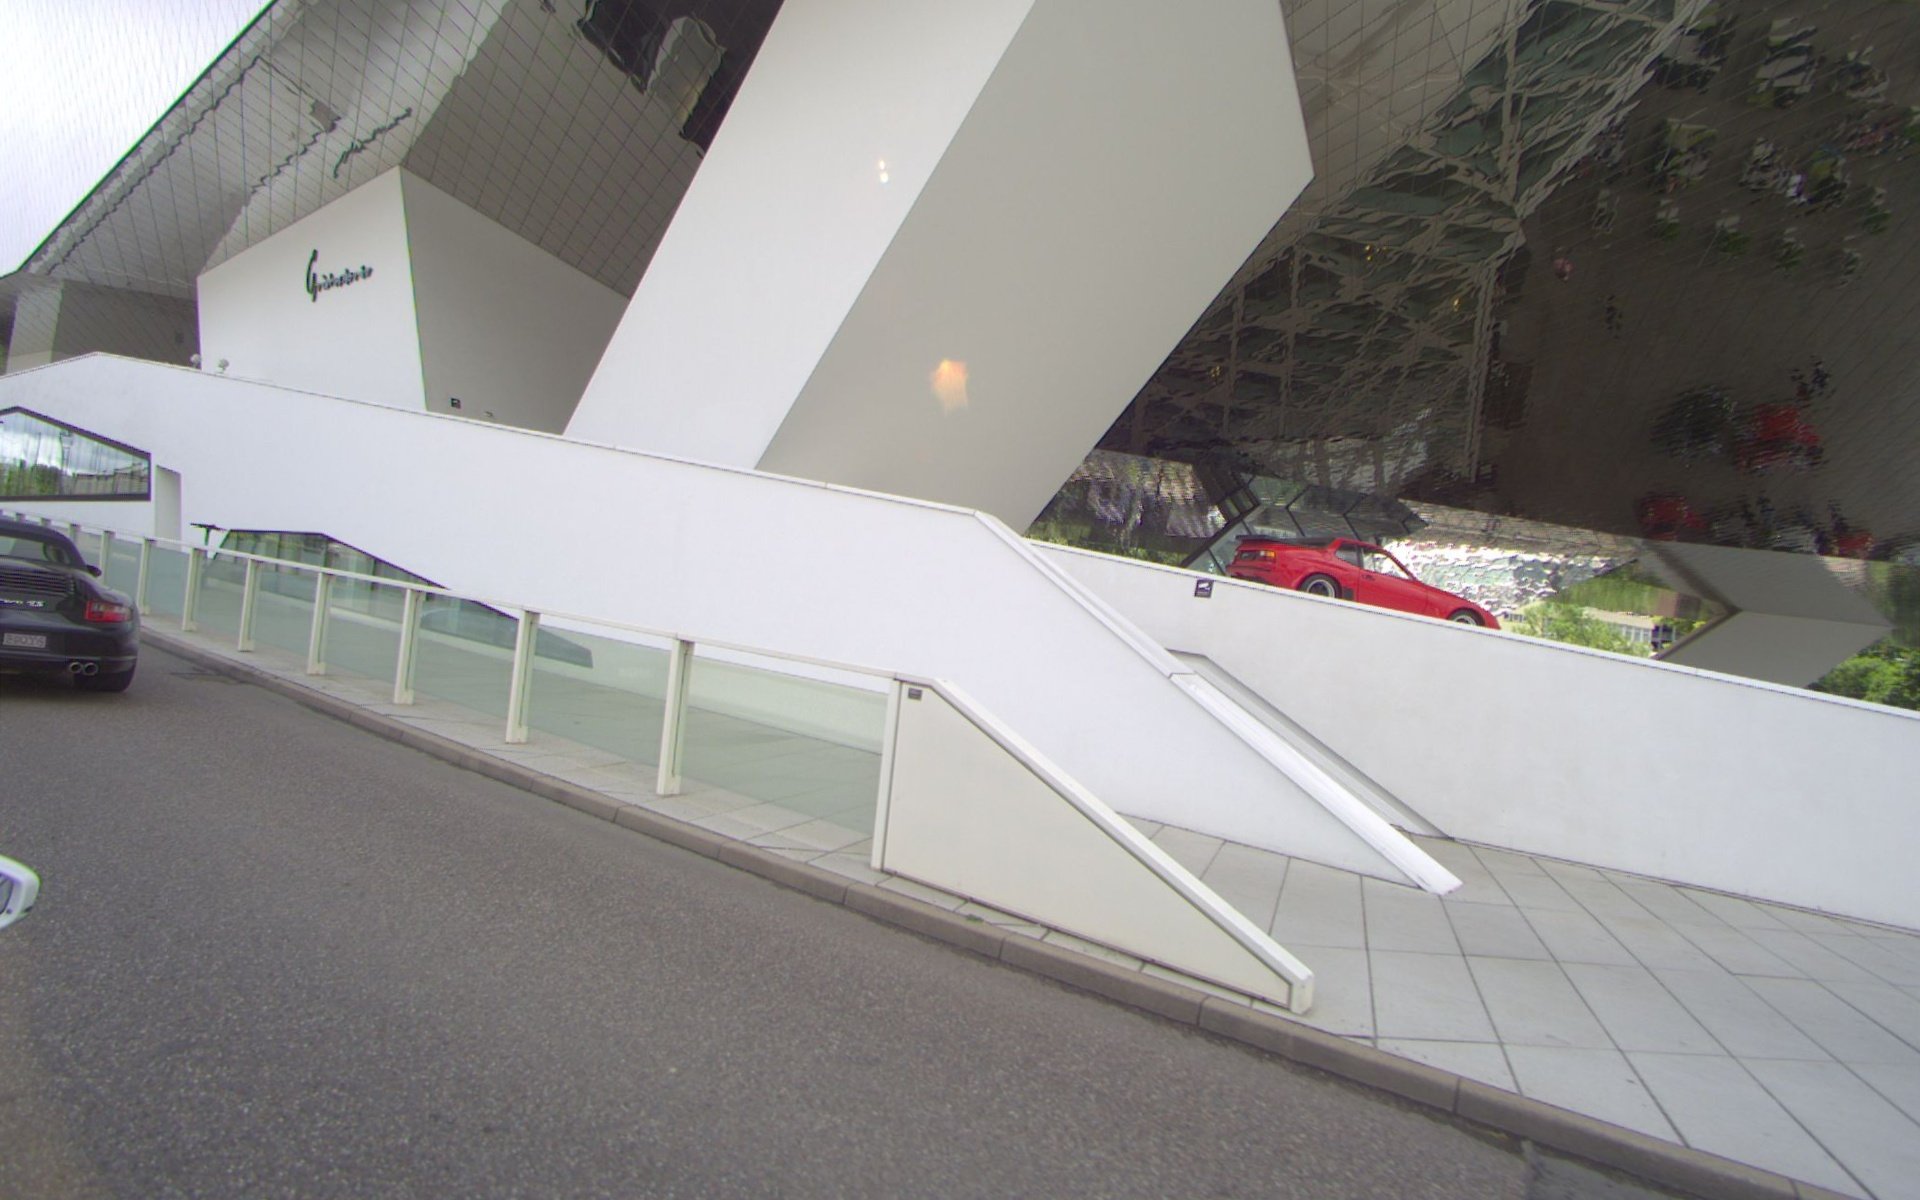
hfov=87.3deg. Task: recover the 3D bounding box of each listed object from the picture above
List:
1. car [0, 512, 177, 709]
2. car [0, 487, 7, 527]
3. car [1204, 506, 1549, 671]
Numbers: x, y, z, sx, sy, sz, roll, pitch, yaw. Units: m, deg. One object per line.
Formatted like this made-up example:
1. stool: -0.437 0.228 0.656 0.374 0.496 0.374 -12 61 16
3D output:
1. car: -8.356 -0.075 8.468 3.941 1.341 1.834 7 -1 39
2. car: -15.877 -1.110 14.675 3.937 1.655 1.997 7 -2 35
3. car: 6.407 -0.168 15.787 4.441 1.410 1.997 14 0 -7
